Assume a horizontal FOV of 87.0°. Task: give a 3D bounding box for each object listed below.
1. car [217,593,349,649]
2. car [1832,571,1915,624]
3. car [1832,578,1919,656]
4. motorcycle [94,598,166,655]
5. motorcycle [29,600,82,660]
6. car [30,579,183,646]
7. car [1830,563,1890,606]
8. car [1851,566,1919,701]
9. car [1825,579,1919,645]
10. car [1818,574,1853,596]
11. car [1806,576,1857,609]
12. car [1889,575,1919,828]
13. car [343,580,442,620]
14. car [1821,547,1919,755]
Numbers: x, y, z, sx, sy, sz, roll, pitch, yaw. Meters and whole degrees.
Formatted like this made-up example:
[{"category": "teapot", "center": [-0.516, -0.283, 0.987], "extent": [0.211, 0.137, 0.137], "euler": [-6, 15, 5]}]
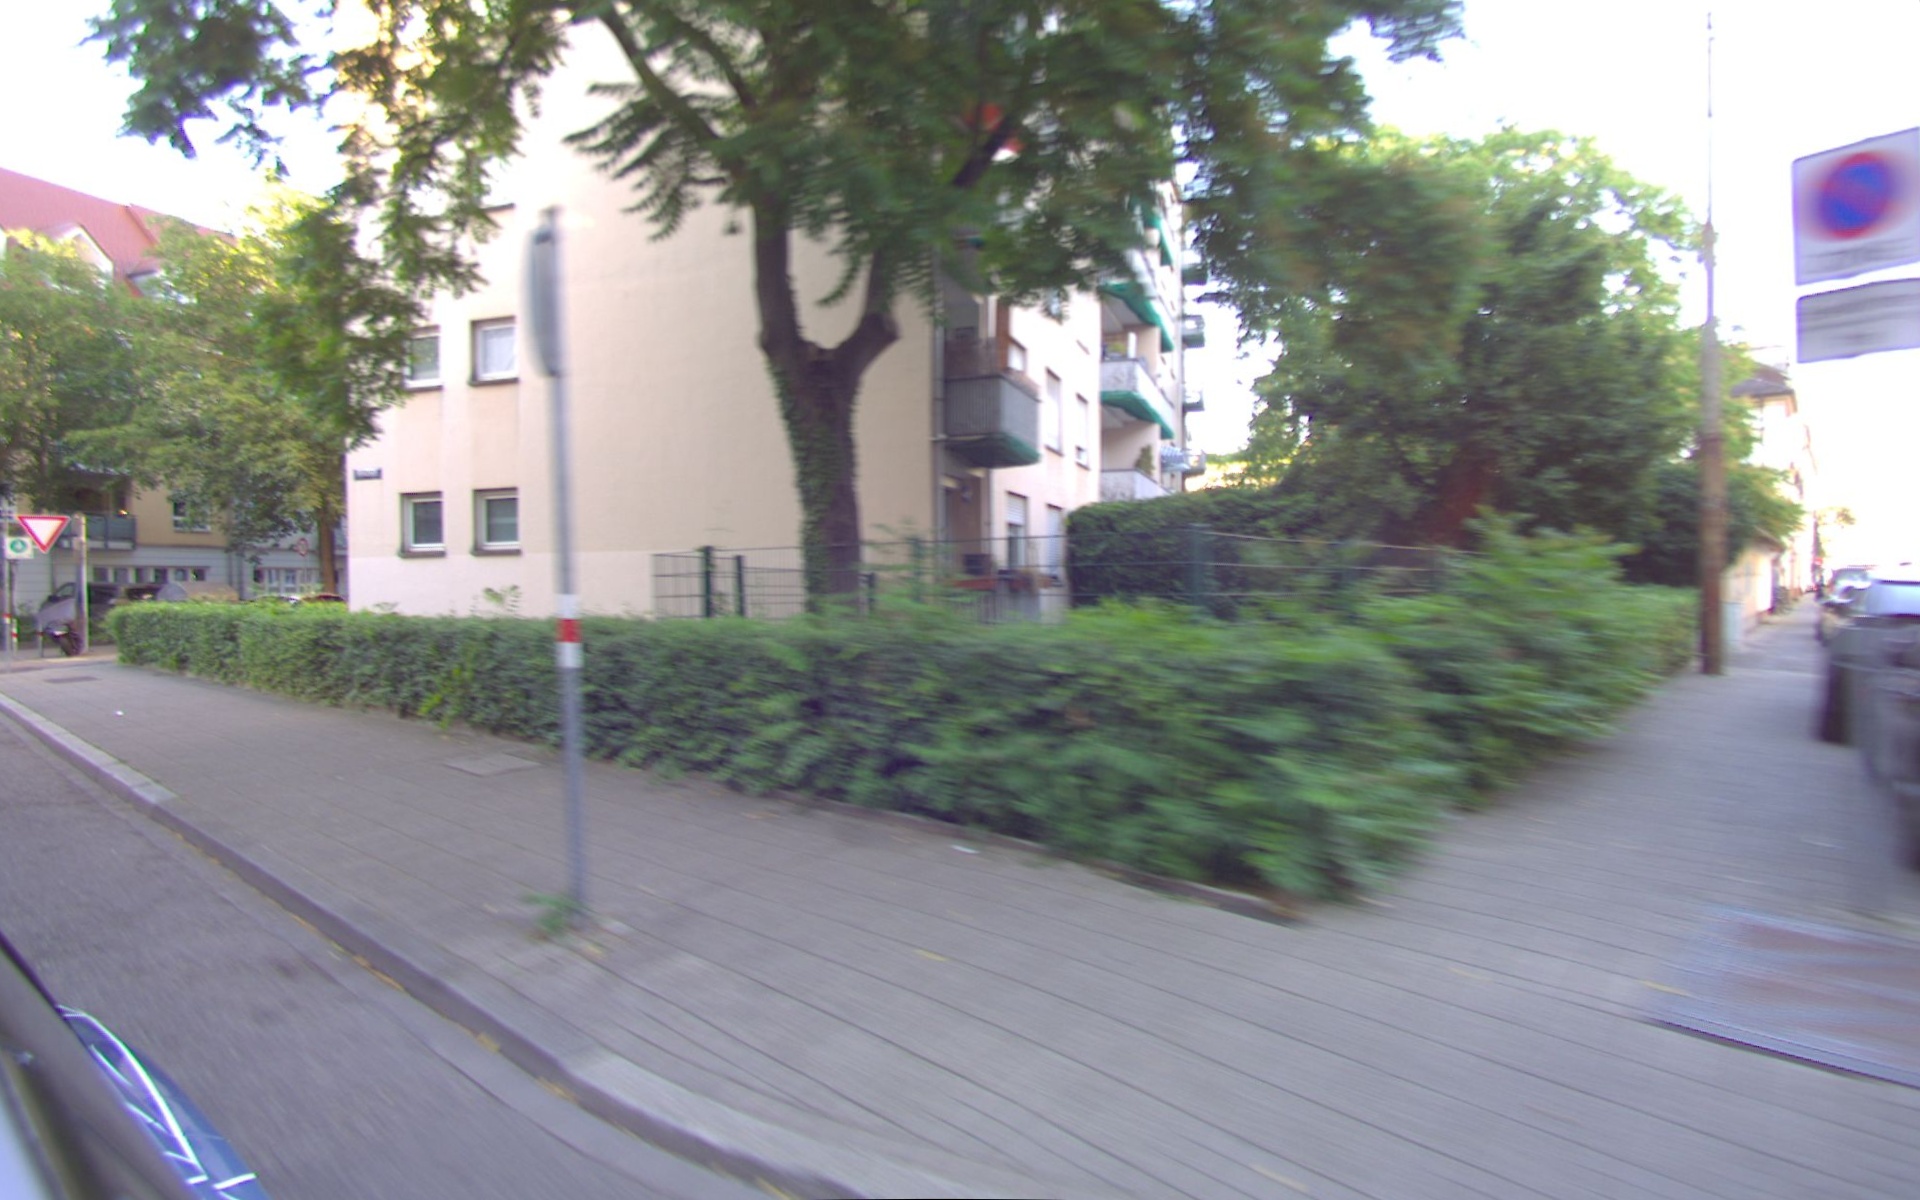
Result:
[{"category": "car", "center": [-19.684, 0.584, 29.416], "extent": [3.480, 1.518, 1.620], "euler": [-1, 1, 25]}, {"category": "car", "center": [27.914, -0.113, 31.030], "extent": [1.711, 1.468, 3.921], "euler": [3, 2, 40]}, {"category": "car", "center": [19.493, 0.304, 21.257], "extent": [1.711, 1.468, 3.921], "euler": [3, 2, 40]}, {"category": "motorcycle", "center": [-21.208, 0.659, 25.859], "extent": [1.958, 1.417, 0.567], "euler": [0, 0, 23]}, {"category": "motorcycle", "center": [-21.581, 0.688, 24.168], "extent": [0.846, 1.363, 1.962], "euler": [-1, 0, -39]}, {"category": "car", "center": [-29.730, 0.401, 35.279], "extent": [4.296, 2.092, 2.214], "euler": [2, 0, 19]}, {"category": "car", "center": [38.331, -0.660, 43.074], "extent": [1.768, 1.782, 3.537], "euler": [0, 1, 44]}, {"category": "car", "center": [12.877, 0.366, 13.214], "extent": [1.829, 1.588, 3.945], "euler": [0, 1, 41]}, {"category": "car", "center": [22.590, 0.243, 25.042], "extent": [1.711, 1.468, 3.921], "euler": [3, 2, 40]}, {"category": "car", "center": [72.923, -1.220, 84.346], "extent": [1.998, 1.827, 3.948], "euler": [0, 0, 39]}, {"category": "car", "center": [43.464, -0.394, 50.447], "extent": [1.768, 1.586, 3.537], "euler": [0, 1, 44]}, {"category": "car", "center": [6.394, 0.606, 5.491], "extent": [1.725, 1.493, 4.327], "euler": [1, 1, 39]}, {"category": "car", "center": [-26.394, -0.034, 47.082], "extent": [3.972, 1.741, 1.986], "euler": [1, 1, 21]}, {"category": "car", "center": [9.429, 0.396, 9.683], "extent": [1.727, 1.717, 4.069], "euler": [0, 1, 42]}]
